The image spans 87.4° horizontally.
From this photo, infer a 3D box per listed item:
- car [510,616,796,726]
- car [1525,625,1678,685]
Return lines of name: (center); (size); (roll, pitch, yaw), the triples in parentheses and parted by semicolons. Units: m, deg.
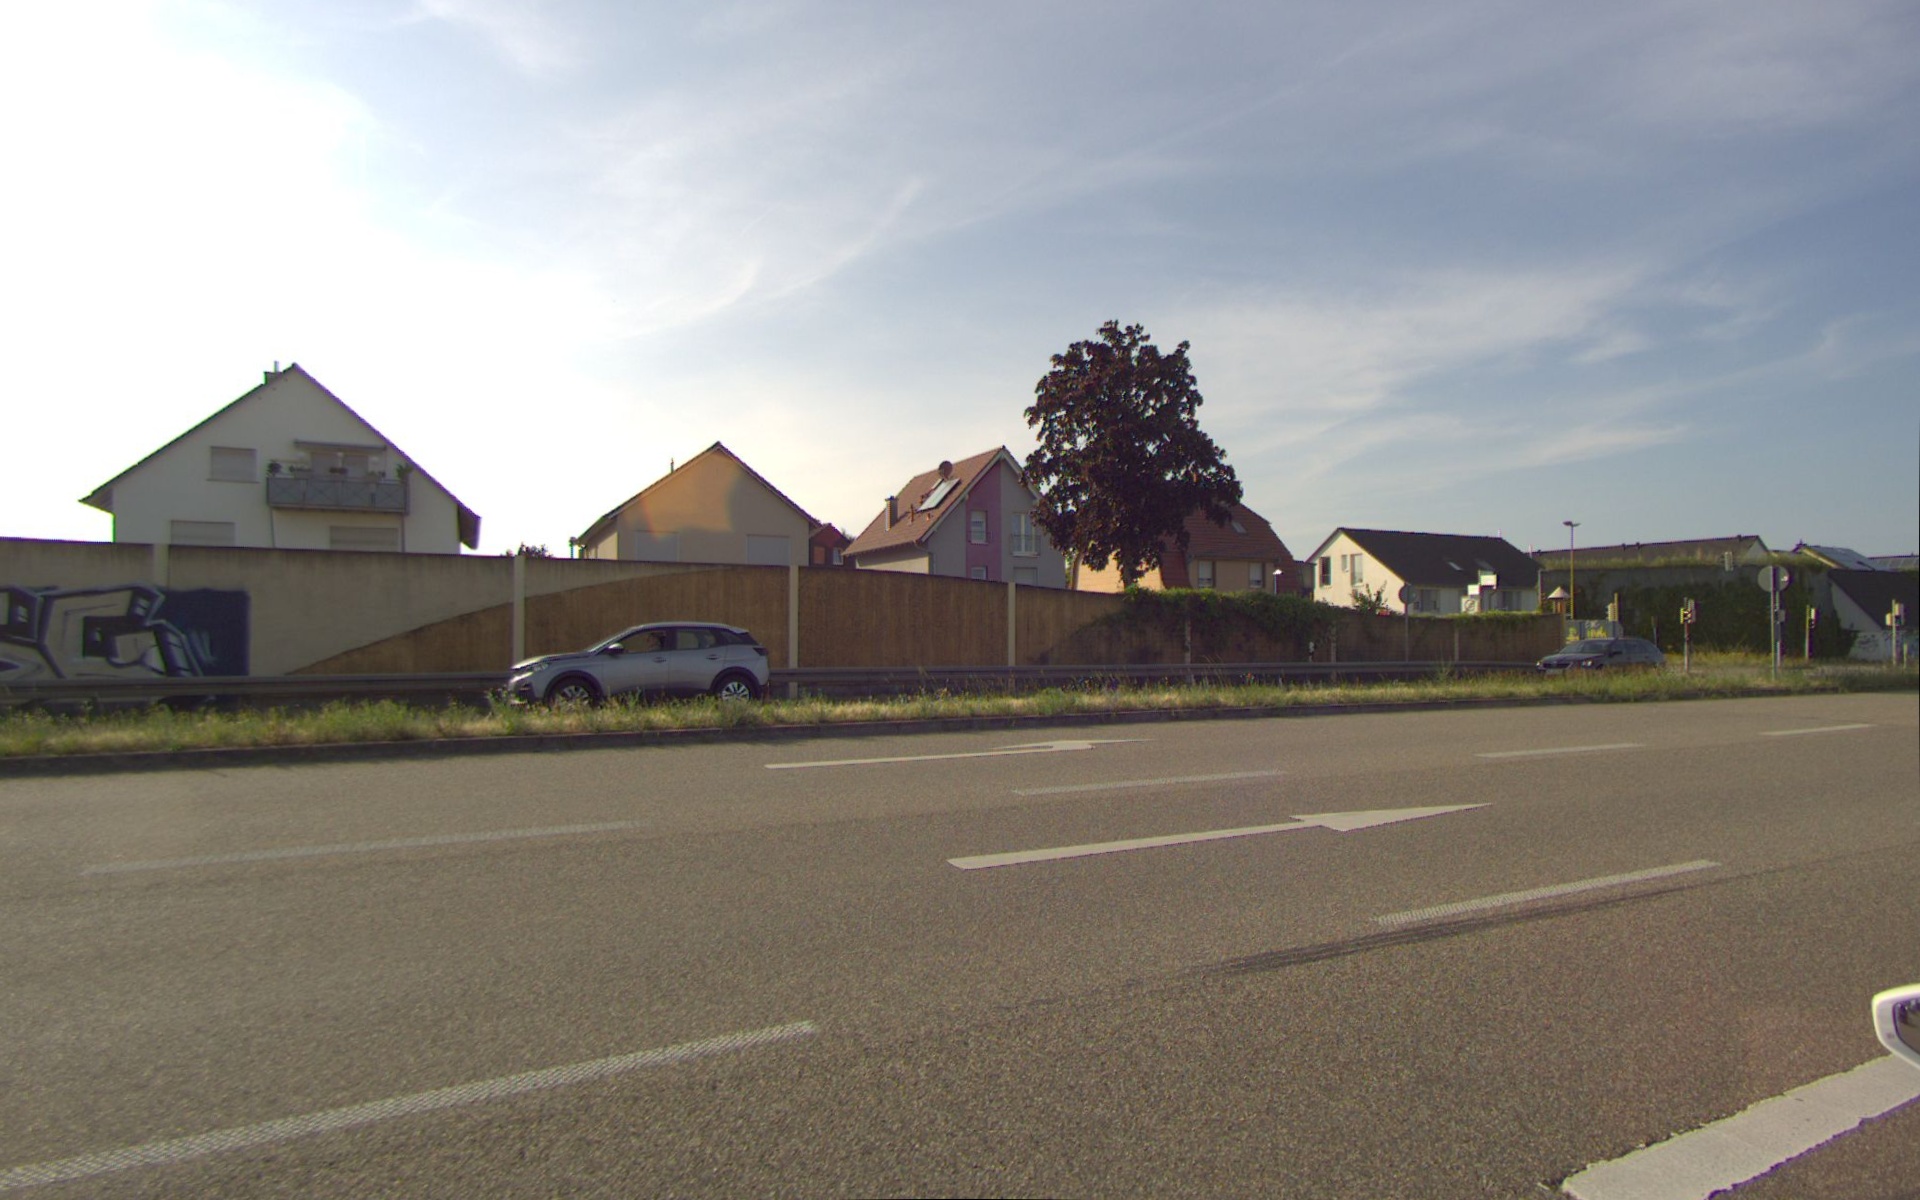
car: (-5.361, 1.150, 17.640); (4.532, 1.687, 1.969); (1, 0, -28)
car: (19.288, 1.598, 30.165); (4.596, 1.650, 1.717); (1, 0, -26)
